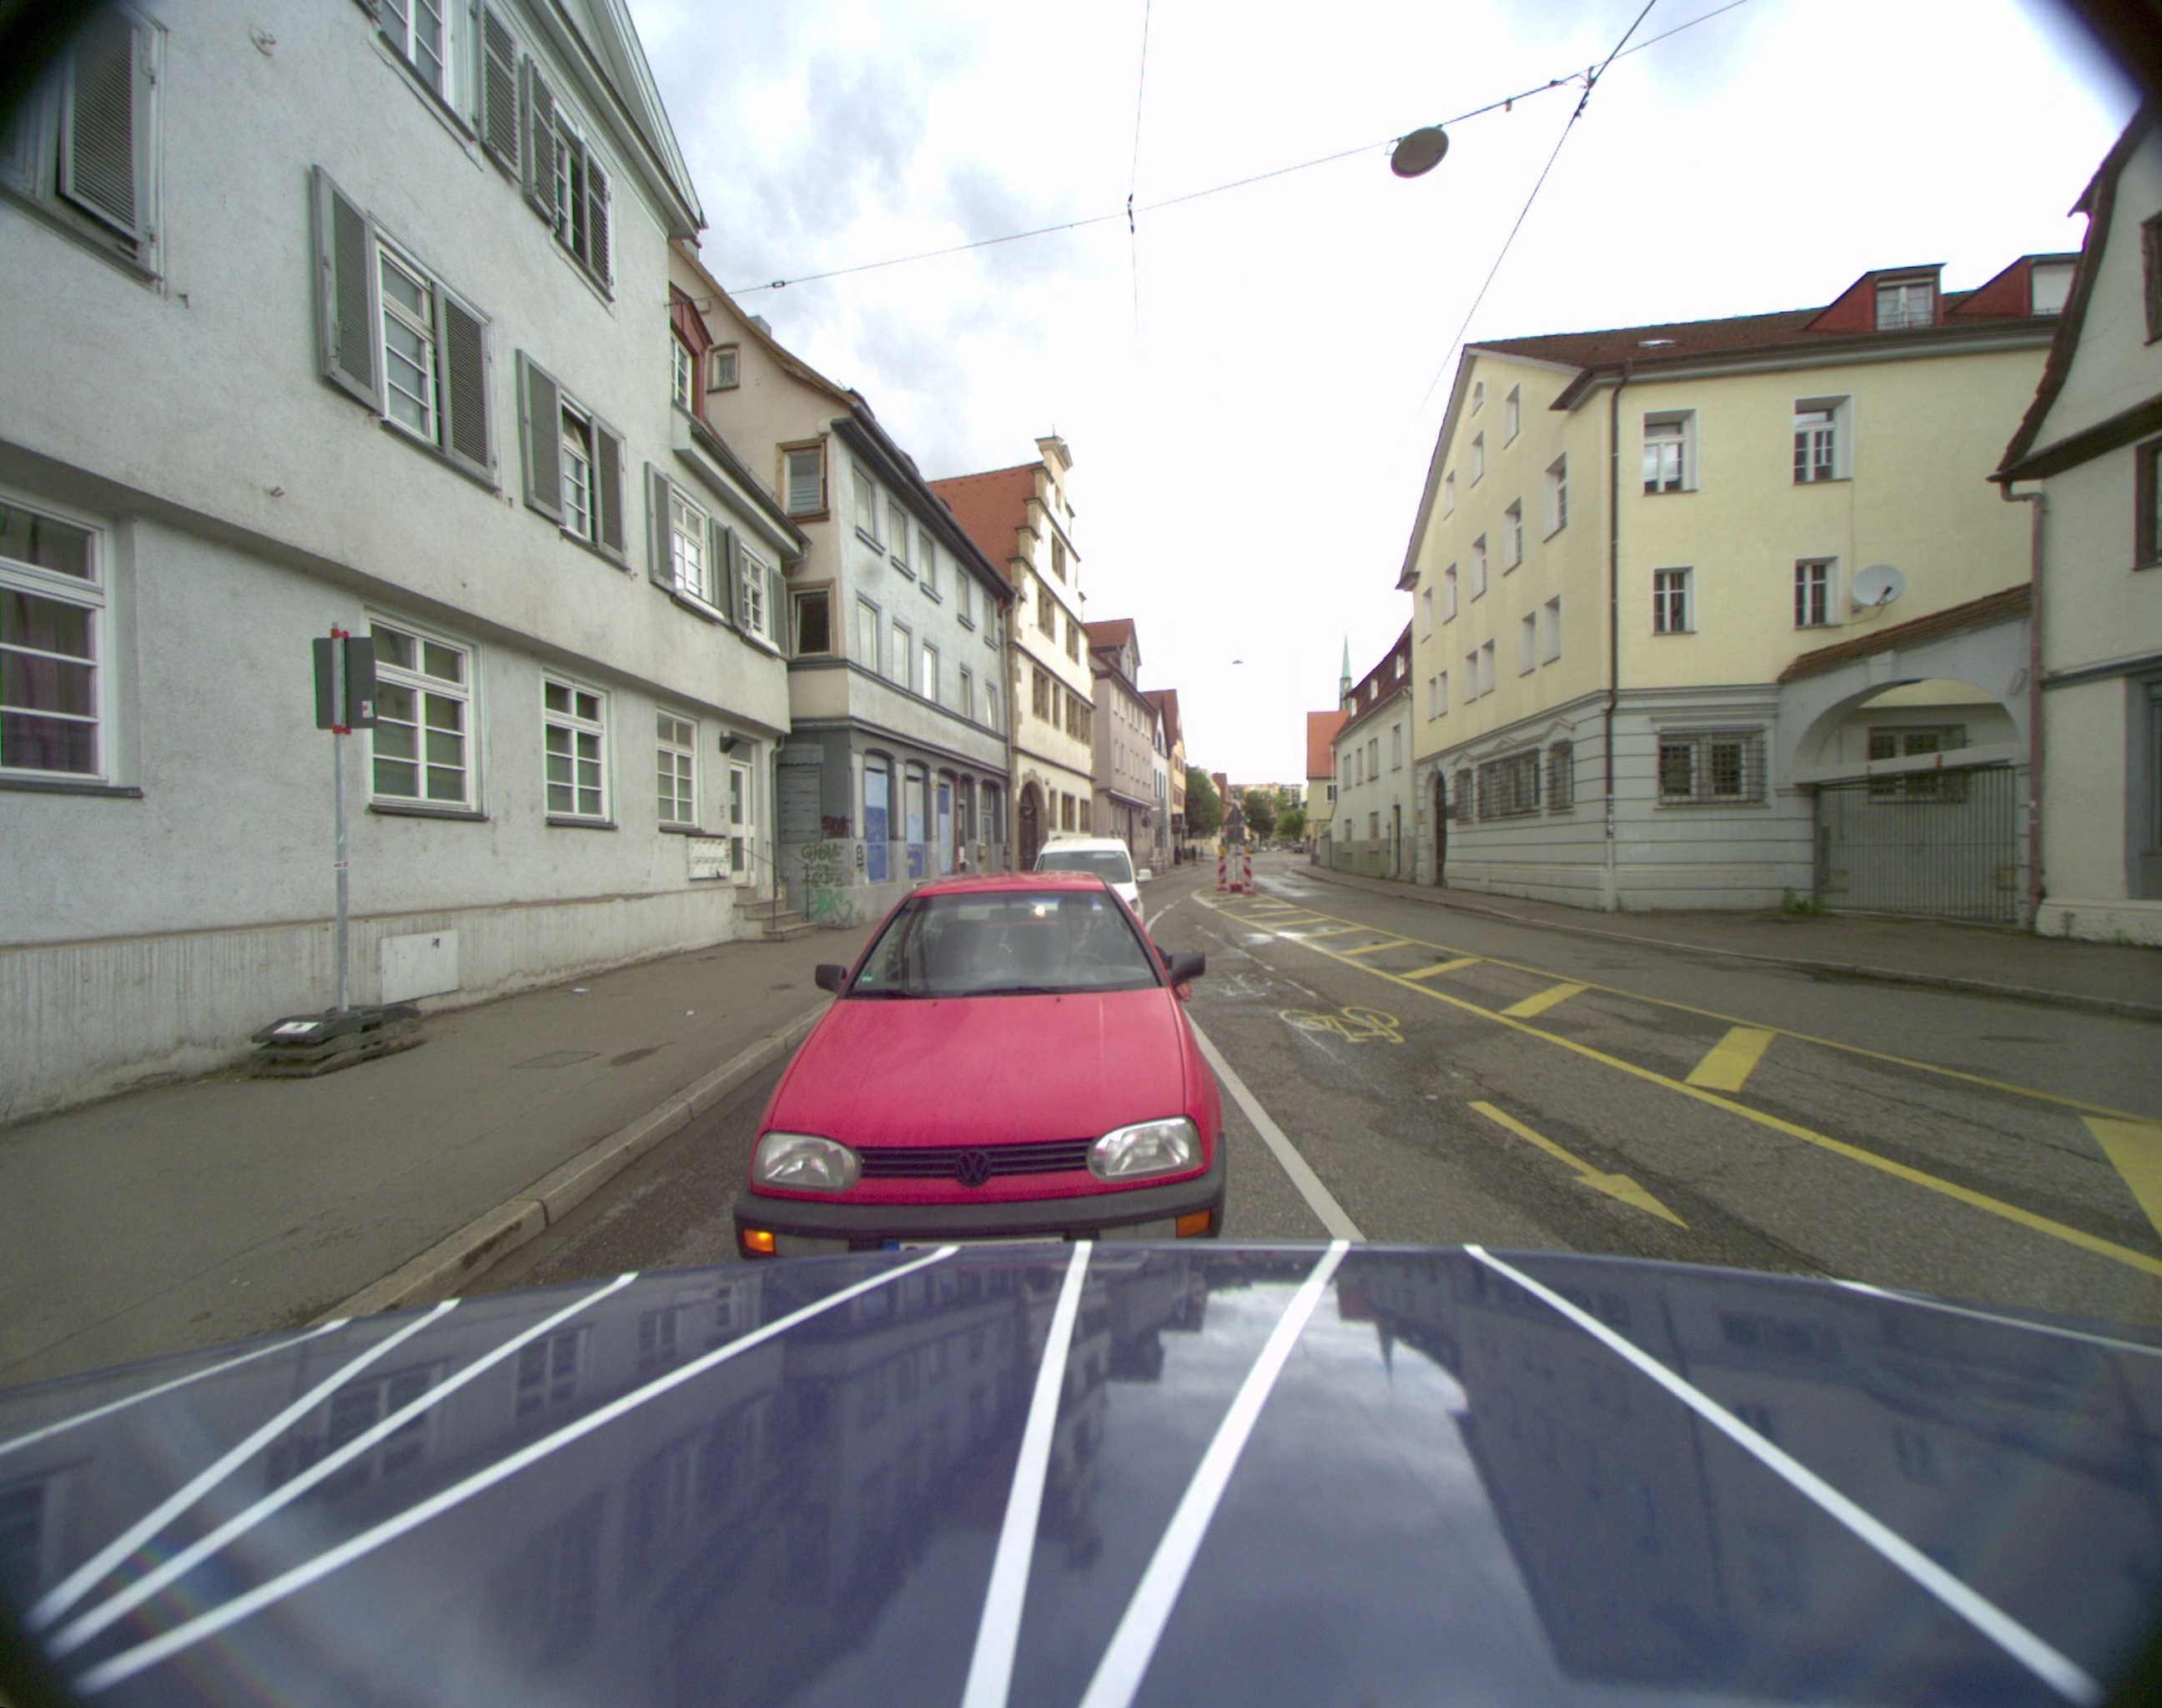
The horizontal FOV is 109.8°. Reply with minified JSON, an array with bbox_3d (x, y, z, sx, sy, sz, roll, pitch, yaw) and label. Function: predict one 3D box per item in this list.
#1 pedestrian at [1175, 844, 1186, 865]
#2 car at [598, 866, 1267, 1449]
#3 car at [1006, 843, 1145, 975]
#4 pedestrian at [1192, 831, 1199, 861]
[{"bbox_3d":[7.536,0.033,57.504,0.725,1.604,0.649,0,0,11],"label":"pedestrian"},{"bbox_3d":[-0.323,0.879,4.070,1.792,1.417,3.999,-2,2,2],"label":"car"},{"bbox_3d":[0.018,0.698,12.156,1.814,1.695,4.256,-1,1,2],"label":"car"},{"bbox_3d":[9.605,-0.688,63.533,0.495,2.513,0.746,-1,1,12],"label":"pedestrian"}]
